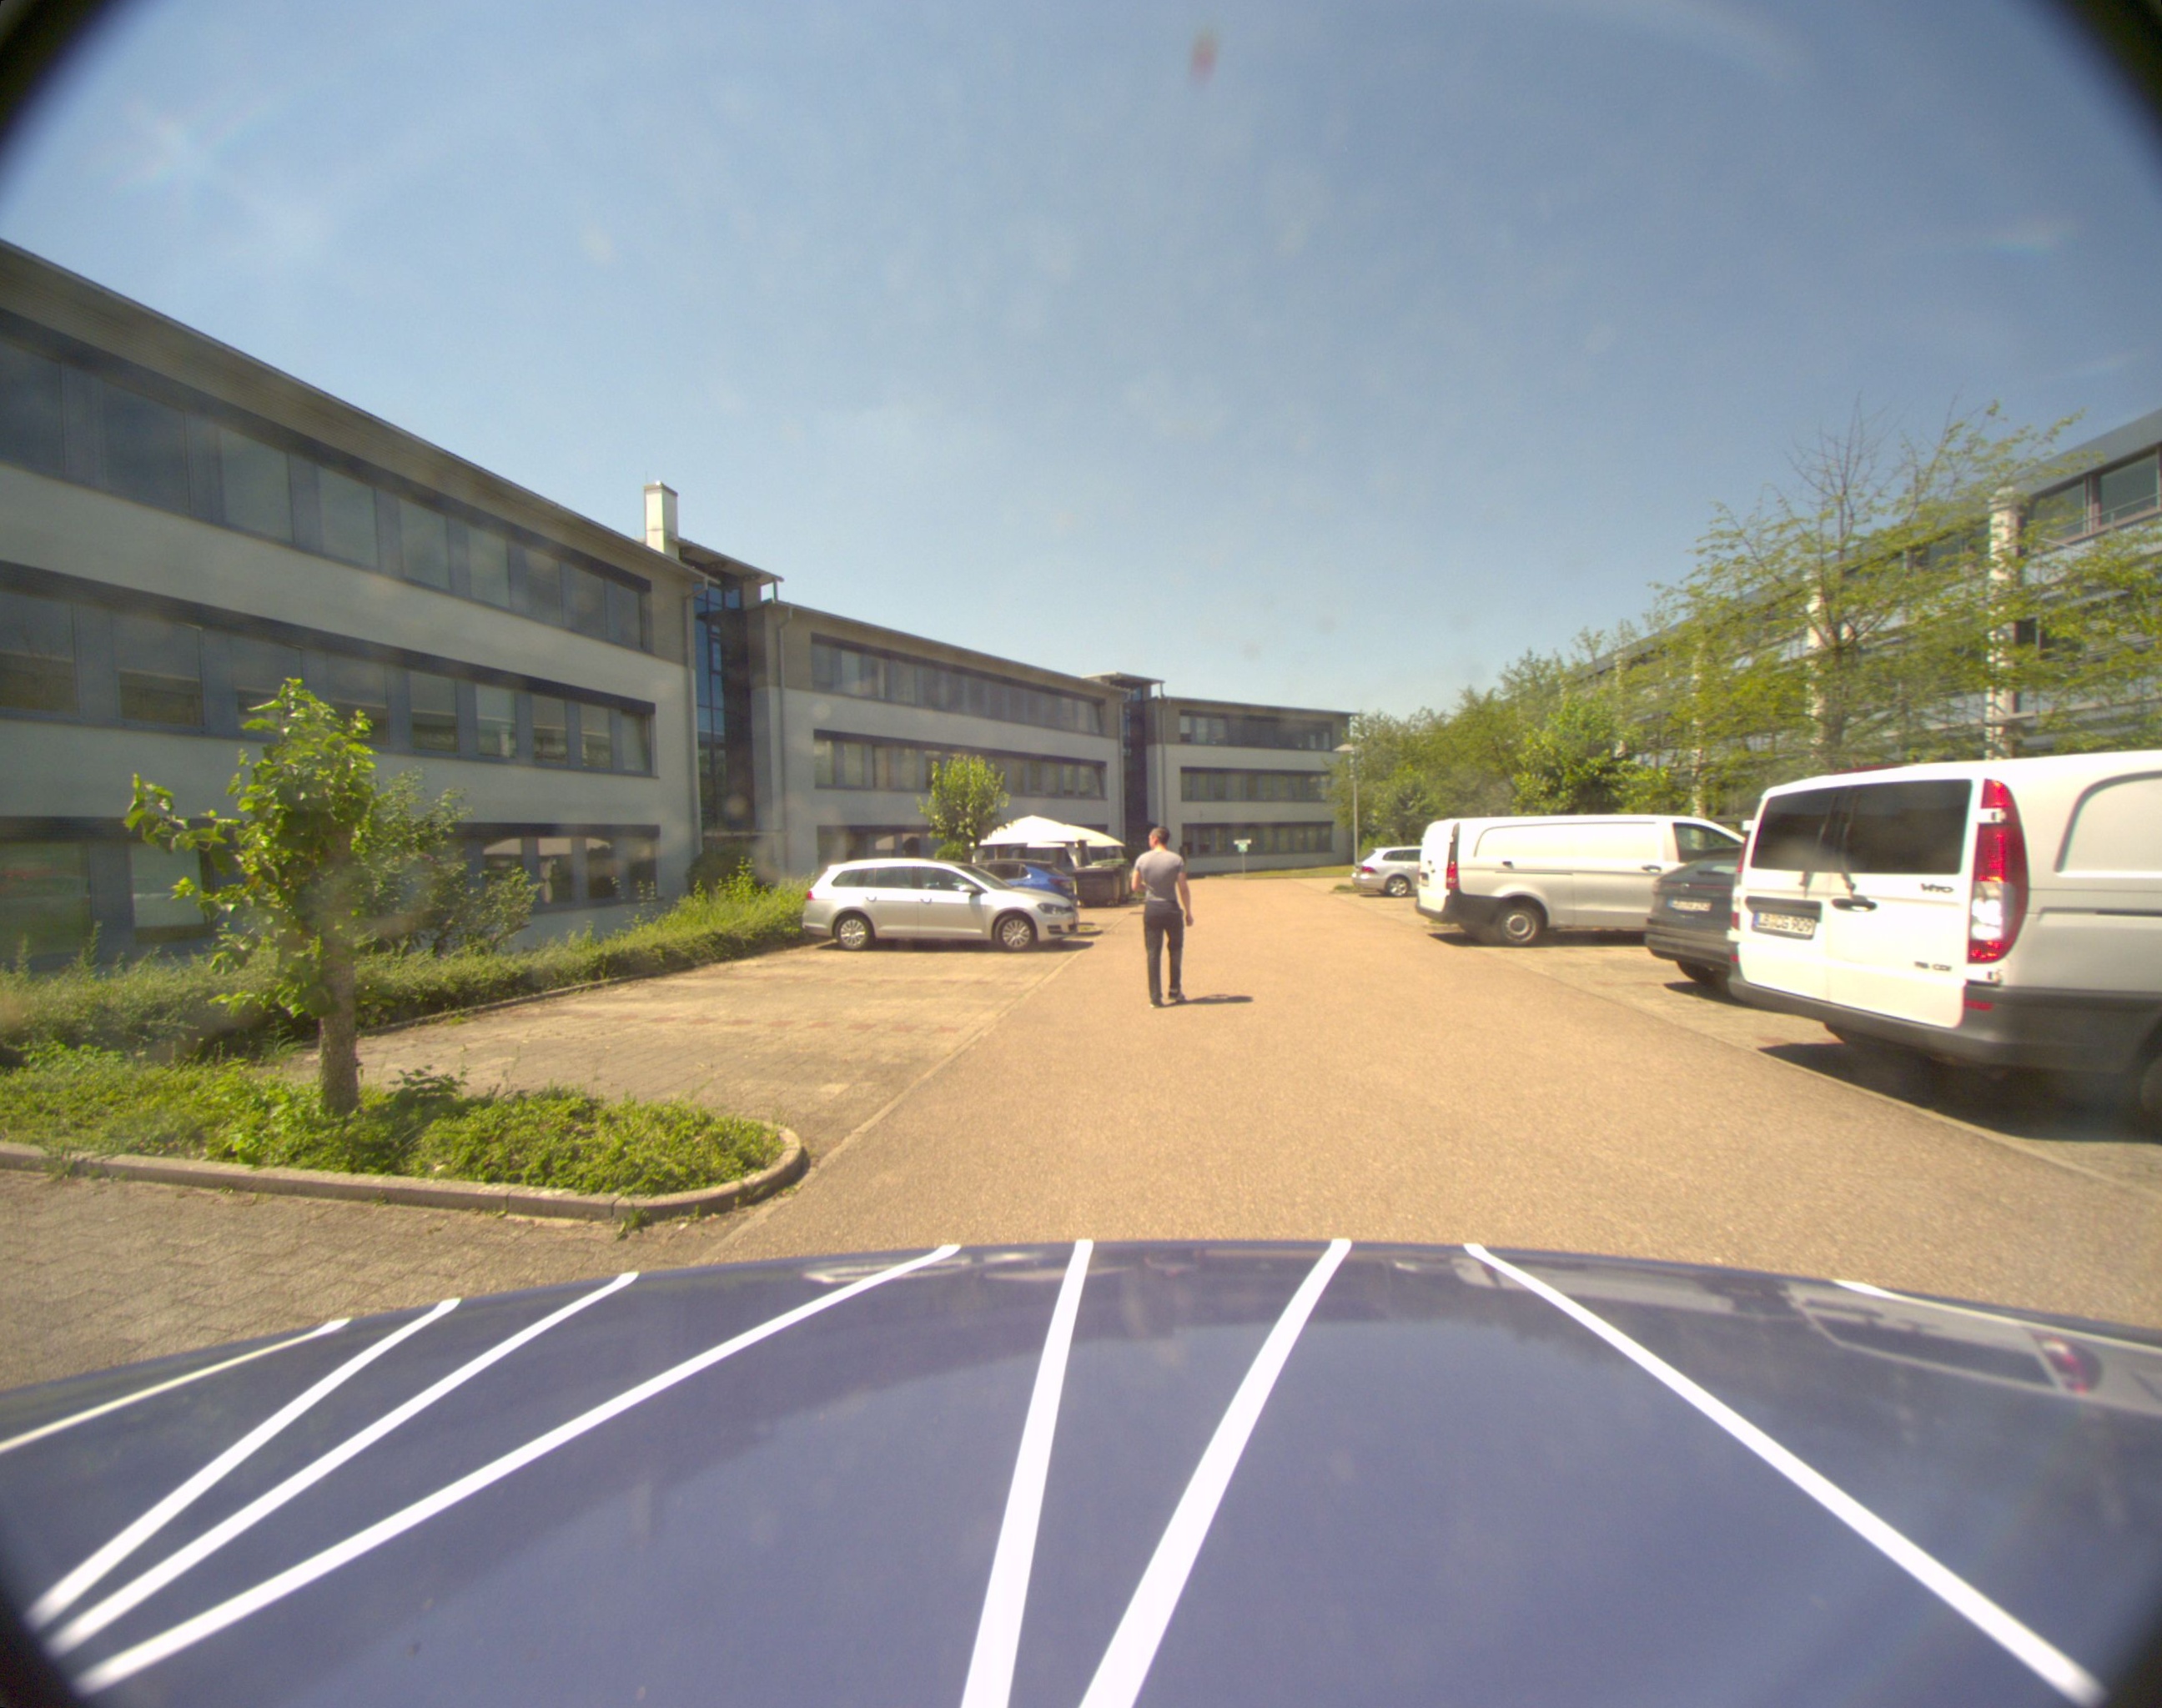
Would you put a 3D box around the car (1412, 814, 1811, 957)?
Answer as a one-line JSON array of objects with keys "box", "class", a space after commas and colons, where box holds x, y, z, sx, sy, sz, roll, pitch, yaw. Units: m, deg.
[{"box": [7.564, 0.448, 11.283, 4.514, 1.871, 1.830, -1, 1, 8], "class": "car"}]

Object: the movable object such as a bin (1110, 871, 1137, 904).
[{"box": [1.308, 1.021, 23.202, 0.690, 0.944, 0.723, -1, 1, 14], "class": "movable object such as a bin"}]

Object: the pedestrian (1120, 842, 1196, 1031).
[{"box": [0.774, 0.765, 7.452, 0.618, 1.747, 0.789, -1, 1, 12], "class": "pedestrian"}]

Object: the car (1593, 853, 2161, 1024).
[{"box": [7.392, 0.742, 7.250, 3.846, 1.385, 1.577, -1, 1, 8], "class": "car"}]

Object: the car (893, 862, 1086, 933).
[{"box": [-1.893, 0.896, 16.331, 3.822, 1.384, 1.653, 0, 1, 8], "class": "car"}]

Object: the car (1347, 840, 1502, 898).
[{"box": [9.880, 0.412, 22.091, 3.760, 1.549, 1.661, -1, 1, 8], "class": "car"}]

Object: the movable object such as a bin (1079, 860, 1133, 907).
[{"box": [0.761, 0.863, 22.353, 1.362, 1.288, 1.044, -1, 1, 14], "class": "movable object such as a bin"}]

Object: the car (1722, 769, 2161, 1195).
[{"box": [6.662, 0.516, 4.039, 4.729, 1.895, 1.830, -1, 1, 8], "class": "car"}]

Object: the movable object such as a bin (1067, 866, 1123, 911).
[{"box": [0.413, 0.964, 21.347, 1.362, 1.183, 0.998, -1, 1, 14], "class": "movable object such as a bin"}]

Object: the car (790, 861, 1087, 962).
[{"box": [-2.263, 0.896, 12.714, 4.514, 1.488, 1.830, 0, 1, 8], "class": "car"}]
